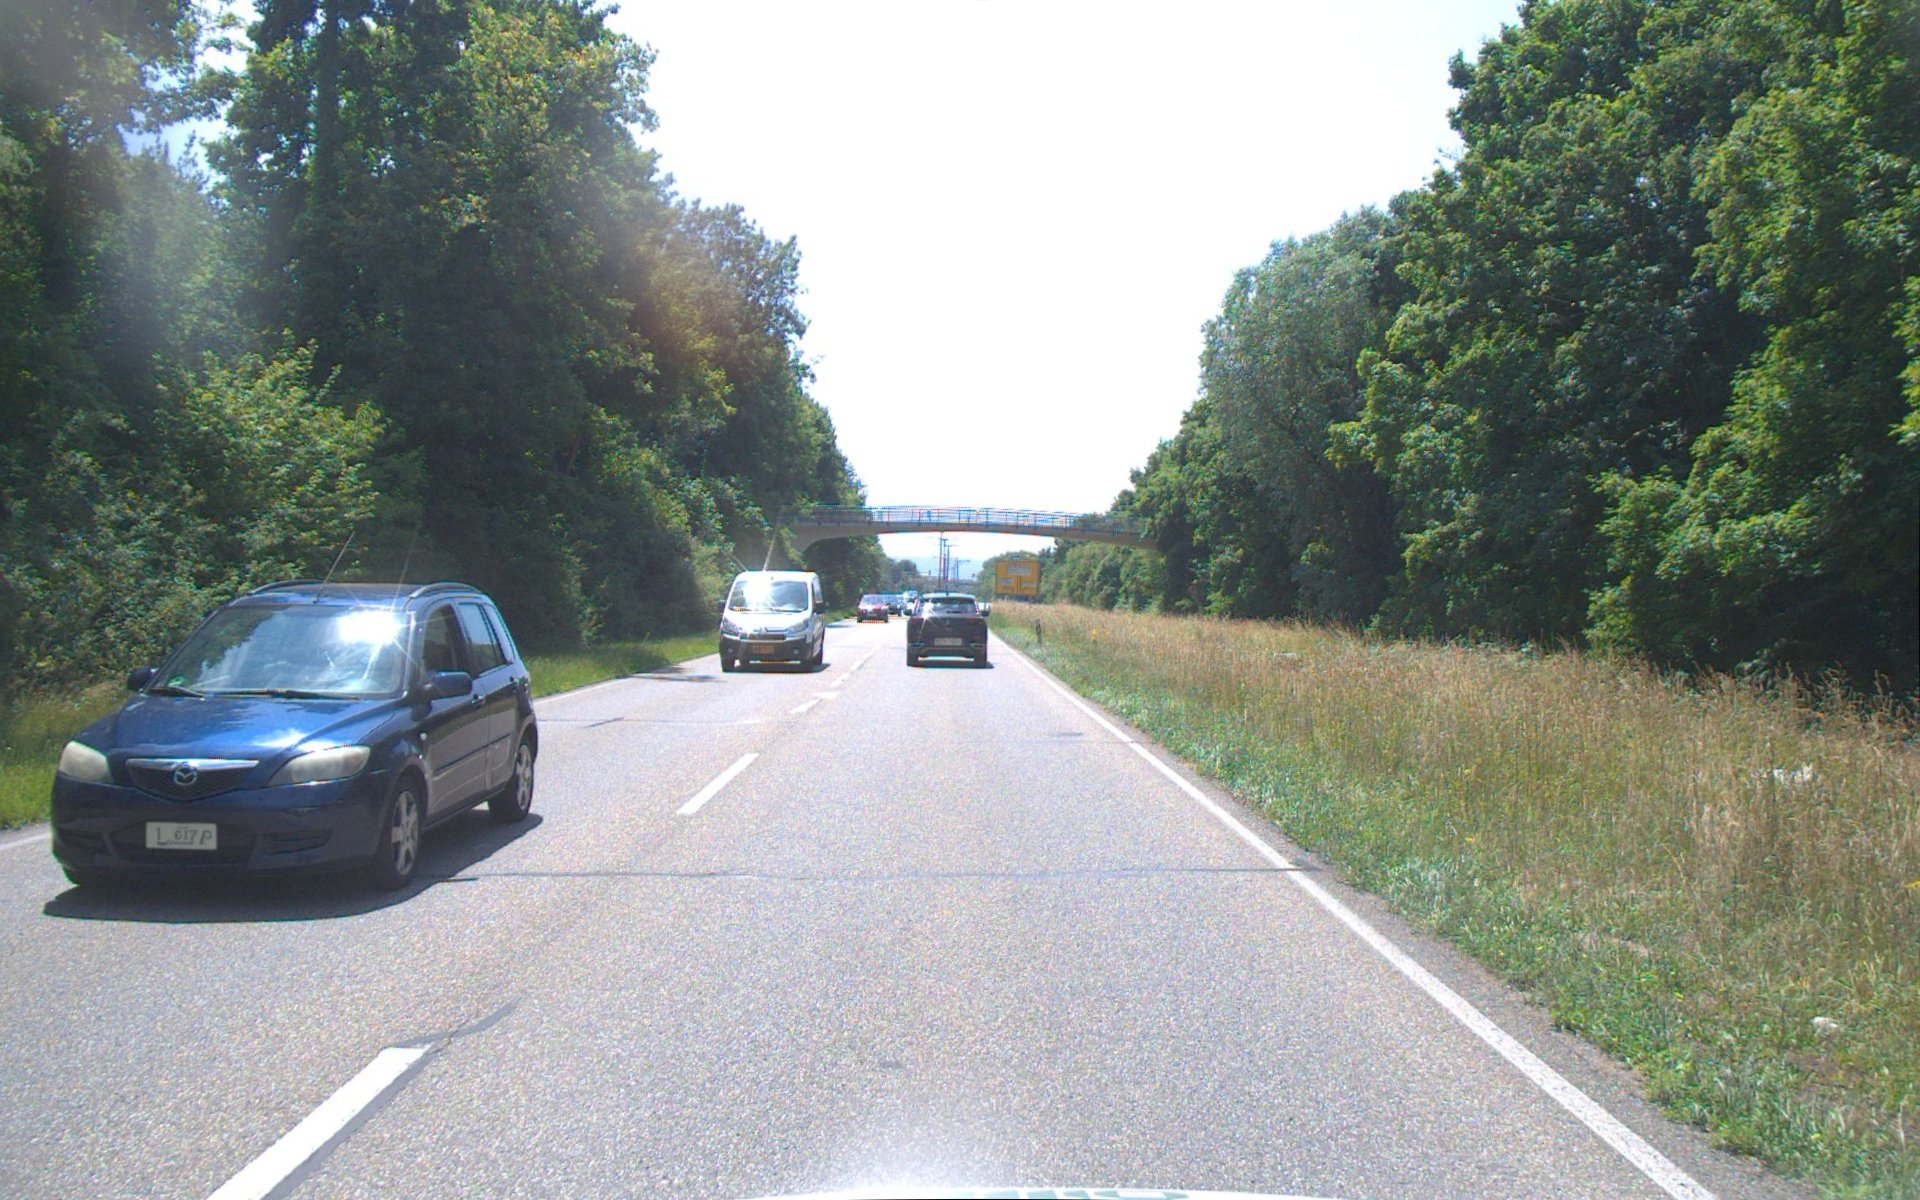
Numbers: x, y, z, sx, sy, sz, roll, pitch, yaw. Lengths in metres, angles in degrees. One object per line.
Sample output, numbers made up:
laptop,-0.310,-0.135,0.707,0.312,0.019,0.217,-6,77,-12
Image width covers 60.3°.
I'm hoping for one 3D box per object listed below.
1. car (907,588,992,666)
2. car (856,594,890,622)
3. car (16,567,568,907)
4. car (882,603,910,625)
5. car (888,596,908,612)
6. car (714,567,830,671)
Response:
car,-0.227,0.568,36.584,1.719,1.583,3.999,2,0,0
car,-4.734,0.431,90.352,1.648,1.519,3.999,0,0,-1
car,-3.523,0.634,9.565,1.638,1.545,3.999,1,0,-2
car,-4.507,0.985,116.723,1.747,1.475,4.110,0,0,1
car,-5.600,0.347,149.563,1.643,1.458,3.772,0,0,0
car,-3.769,0.365,33.862,1.837,1.962,4.986,1,0,-1
